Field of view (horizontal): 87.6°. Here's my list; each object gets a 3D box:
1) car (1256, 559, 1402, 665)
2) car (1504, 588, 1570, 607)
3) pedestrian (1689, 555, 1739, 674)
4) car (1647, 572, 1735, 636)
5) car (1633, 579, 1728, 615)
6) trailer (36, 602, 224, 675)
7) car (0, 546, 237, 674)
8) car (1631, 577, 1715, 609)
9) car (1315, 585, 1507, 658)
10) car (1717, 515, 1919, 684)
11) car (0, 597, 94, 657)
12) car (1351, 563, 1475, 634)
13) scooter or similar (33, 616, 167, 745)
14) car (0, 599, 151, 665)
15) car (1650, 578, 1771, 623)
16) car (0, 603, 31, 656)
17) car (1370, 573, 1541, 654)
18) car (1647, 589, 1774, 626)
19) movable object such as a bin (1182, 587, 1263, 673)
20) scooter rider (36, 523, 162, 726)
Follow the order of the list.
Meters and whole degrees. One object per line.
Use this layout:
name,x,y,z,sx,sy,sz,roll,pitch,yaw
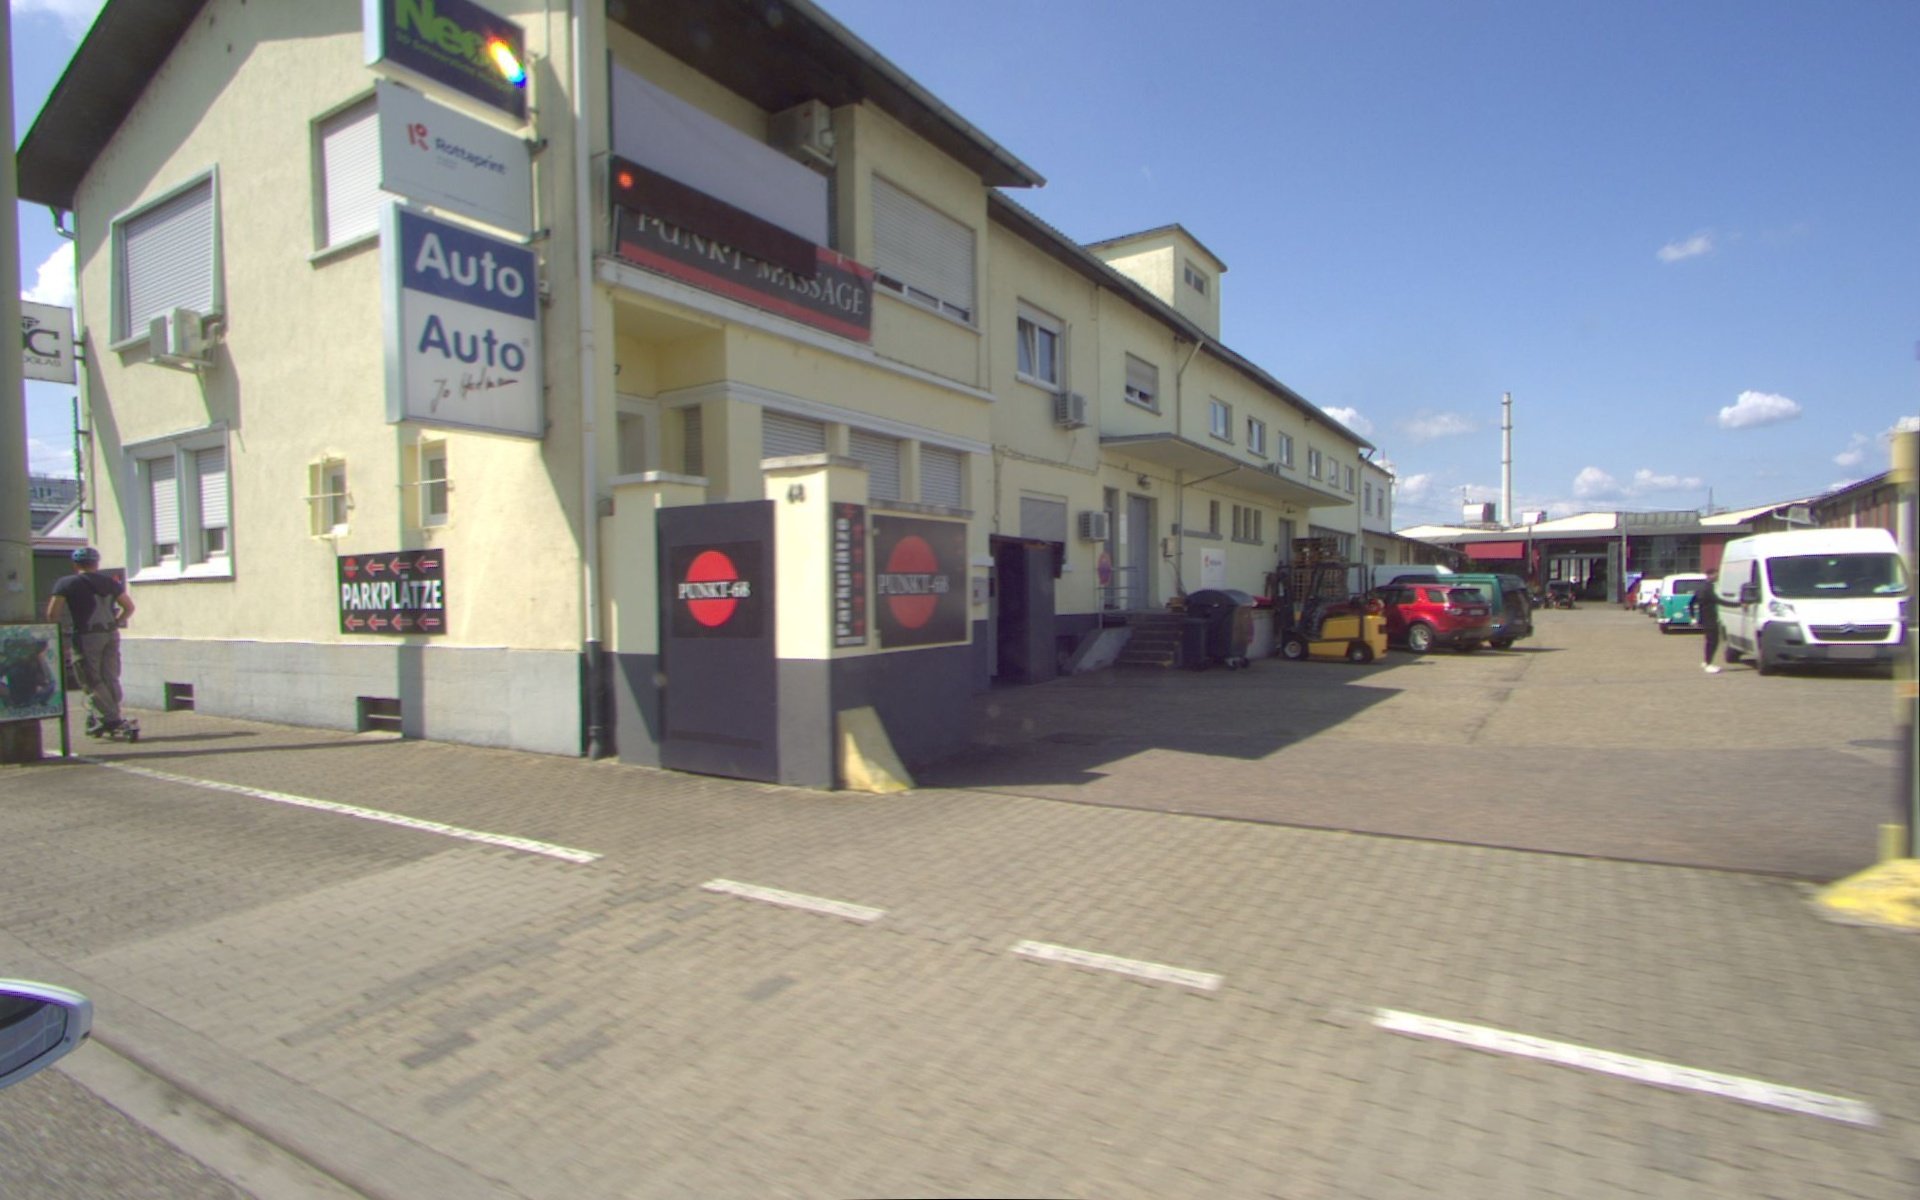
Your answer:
car,8.079,0.224,21.886,2.558,2.145,1.989,2,2,33
car,40.418,-0.157,70.136,3.942,1.294,1.595,-1,-1,32
pedestrian,13.312,0.257,17.693,0.617,2.040,0.705,-1,0,32
car,23.872,0.099,32.841,1.971,1.944,3.978,-1,1,31
car,38.576,-0.155,53.711,3.941,1.810,1.990,-1,1,30
trailer,-17.494,0.763,21.192,1.284,1.351,2.775,-1,1,33
car,-19.295,0.195,22.453,2.122,2.608,4.524,-1,1,34
car,42.909,-0.431,60.350,3.941,1.810,1.990,-1,1,30
car,11.405,0.474,25.623,1.970,1.681,4.166,-1,2,-28
car,15.013,0.005,17.688,2.108,2.484,5.819,-1,0,32
car,-25.592,0.726,26.522,3.958,1.516,1.734,-1,1,-43
car,17.141,-0.038,37.921,4.077,2.558,1.990,-1,1,30
scooter or similar,-8.774,0.786,10.204,1.588,1.211,0.539,-1,3,32
car,-21.868,0.746,23.520,1.798,1.450,4.165,-1,1,39
car,32.066,0.044,42.922,3.941,1.810,1.990,-1,1,31
car,-28.298,0.861,27.496,3.955,1.462,1.696,-1,1,-40
car,13.486,0.351,27.468,1.759,2.049,3.861,-2,1,-32
car,30.490,0.310,40.861,3.942,1.409,1.989,-1,1,31
movable object such as a bin,4.873,0.519,18.557,0.987,1.473,1.488,4,3,32
scooter rider,-8.856,0.226,10.308,0.774,1.990,0.715,1,3,33
